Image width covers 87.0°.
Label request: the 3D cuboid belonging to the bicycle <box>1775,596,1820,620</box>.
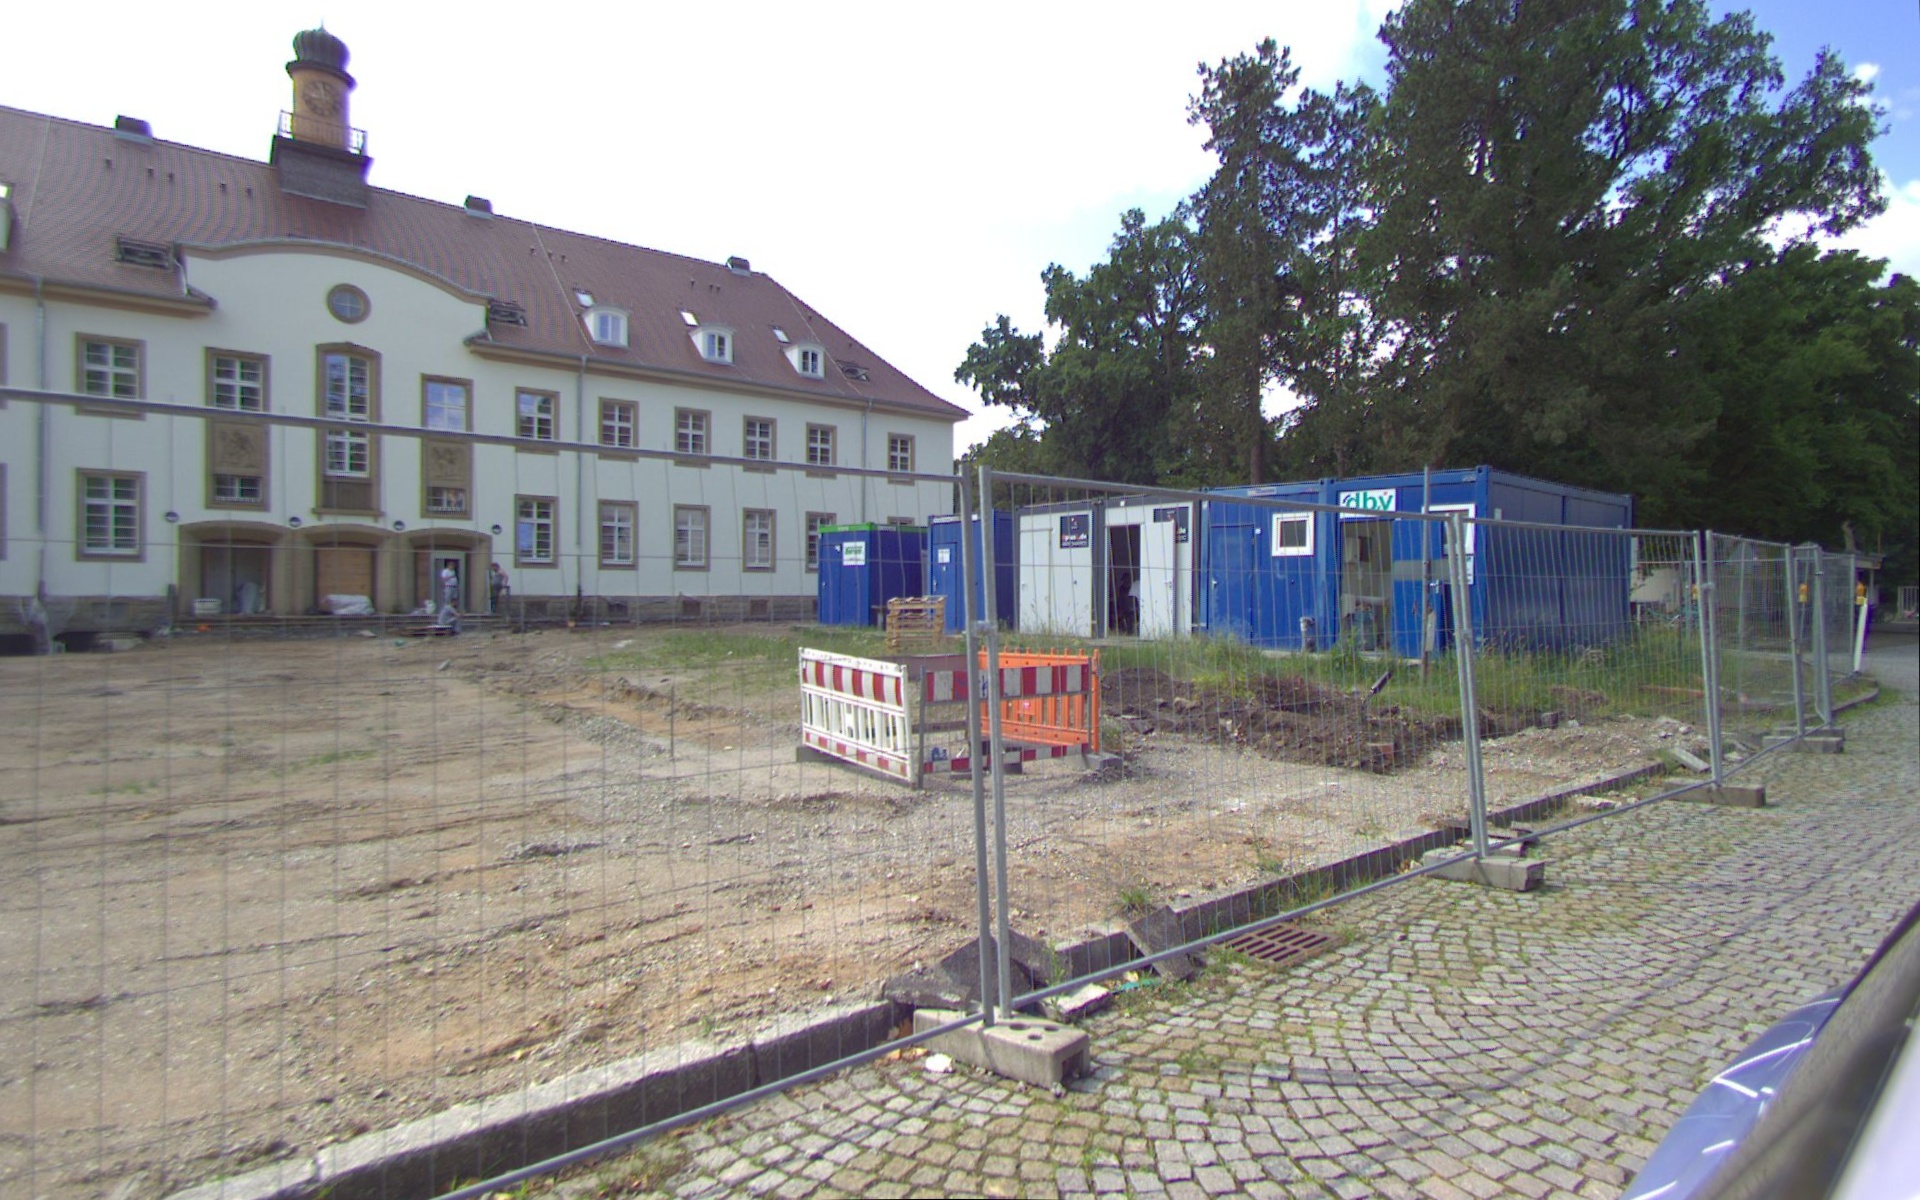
[{"bbox_3d":[44.241,0.407,53.458,0.598,1.179,1.743,0,2,-42],"label":"bicycle"}]

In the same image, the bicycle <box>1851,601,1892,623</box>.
[{"bbox_3d":[50.173,0.660,55.706,1.613,1.155,0.320,3,2,44],"label":"bicycle"}]

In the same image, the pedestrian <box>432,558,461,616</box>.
[{"bbox_3d":[-16.676,-0.426,32.879,0.722,1.858,0.646,0,0,-41],"label":"pedestrian"}]

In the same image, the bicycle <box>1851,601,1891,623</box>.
[{"bbox_3d":[50.434,0.670,56.058,1.613,1.155,0.350,3,2,44],"label":"bicycle"}]

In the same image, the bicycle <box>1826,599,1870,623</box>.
[{"bbox_3d":[46.125,0.568,52.575,1.627,1.204,0.467,3,2,38],"label":"bicycle"}]

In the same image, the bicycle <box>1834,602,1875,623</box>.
[{"bbox_3d":[48.096,0.670,54.423,1.626,1.063,0.330,3,1,37],"label":"bicycle"}]

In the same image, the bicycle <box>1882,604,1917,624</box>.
[{"bbox_3d":[52.319,0.773,56.386,1.391,1.059,0.336,0,0,25],"label":"bicycle"}]

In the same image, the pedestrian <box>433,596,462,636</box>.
[{"bbox_3d":[-16.031,0.495,31.671,0.709,1.225,0.669,0,0,-38],"label":"pedestrian"}]

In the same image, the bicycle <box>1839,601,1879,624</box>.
[{"bbox_3d":[48.891,0.657,55.054,1.592,1.155,0.320,3,2,44],"label":"bicycle"}]

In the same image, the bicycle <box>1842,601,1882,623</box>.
[{"bbox_3d":[49.383,0.652,55.402,1.613,1.155,0.320,3,2,44],"label":"bicycle"}]

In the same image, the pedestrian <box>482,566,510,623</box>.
[{"bbox_3d":[-15.390,-0.187,33.550,0.636,1.858,0.876,0,0,-42],"label":"pedestrian"}]

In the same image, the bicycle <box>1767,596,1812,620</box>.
[{"bbox_3d":[43.378,0.415,52.921,0.598,1.179,1.743,0,2,-42],"label":"bicycle"}]

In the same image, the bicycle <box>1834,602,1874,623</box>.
[{"bbox_3d":[48.482,0.683,54.880,1.592,1.063,0.320,3,2,44],"label":"bicycle"}]

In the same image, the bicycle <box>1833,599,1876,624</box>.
[{"bbox_3d":[47.749,0.606,54.041,1.627,1.204,0.492,3,2,39],"label":"bicycle"}]

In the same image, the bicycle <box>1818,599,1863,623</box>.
[{"bbox_3d":[44.444,0.529,51.113,1.673,1.122,0.334,3,2,38],"label":"bicycle"}]

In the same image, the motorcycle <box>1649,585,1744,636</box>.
[{"bbox_3d":[22.709,0.289,31.239,0.744,1.504,2.279,0,1,-43],"label":"motorcycle"}]

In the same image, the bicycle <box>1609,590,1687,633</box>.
[{"bbox_3d":[20.589,0.334,30.322,0.642,1.212,1.909,1,1,-19],"label":"bicycle"}]

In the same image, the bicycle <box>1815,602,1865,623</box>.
[{"bbox_3d":[44.959,0.642,51.731,1.725,0.988,0.753,2,1,22],"label":"bicycle"}]

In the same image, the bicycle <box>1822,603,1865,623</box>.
[{"bbox_3d":[45.504,0.656,52.147,1.616,0.988,0.320,2,1,22],"label":"bicycle"}]
